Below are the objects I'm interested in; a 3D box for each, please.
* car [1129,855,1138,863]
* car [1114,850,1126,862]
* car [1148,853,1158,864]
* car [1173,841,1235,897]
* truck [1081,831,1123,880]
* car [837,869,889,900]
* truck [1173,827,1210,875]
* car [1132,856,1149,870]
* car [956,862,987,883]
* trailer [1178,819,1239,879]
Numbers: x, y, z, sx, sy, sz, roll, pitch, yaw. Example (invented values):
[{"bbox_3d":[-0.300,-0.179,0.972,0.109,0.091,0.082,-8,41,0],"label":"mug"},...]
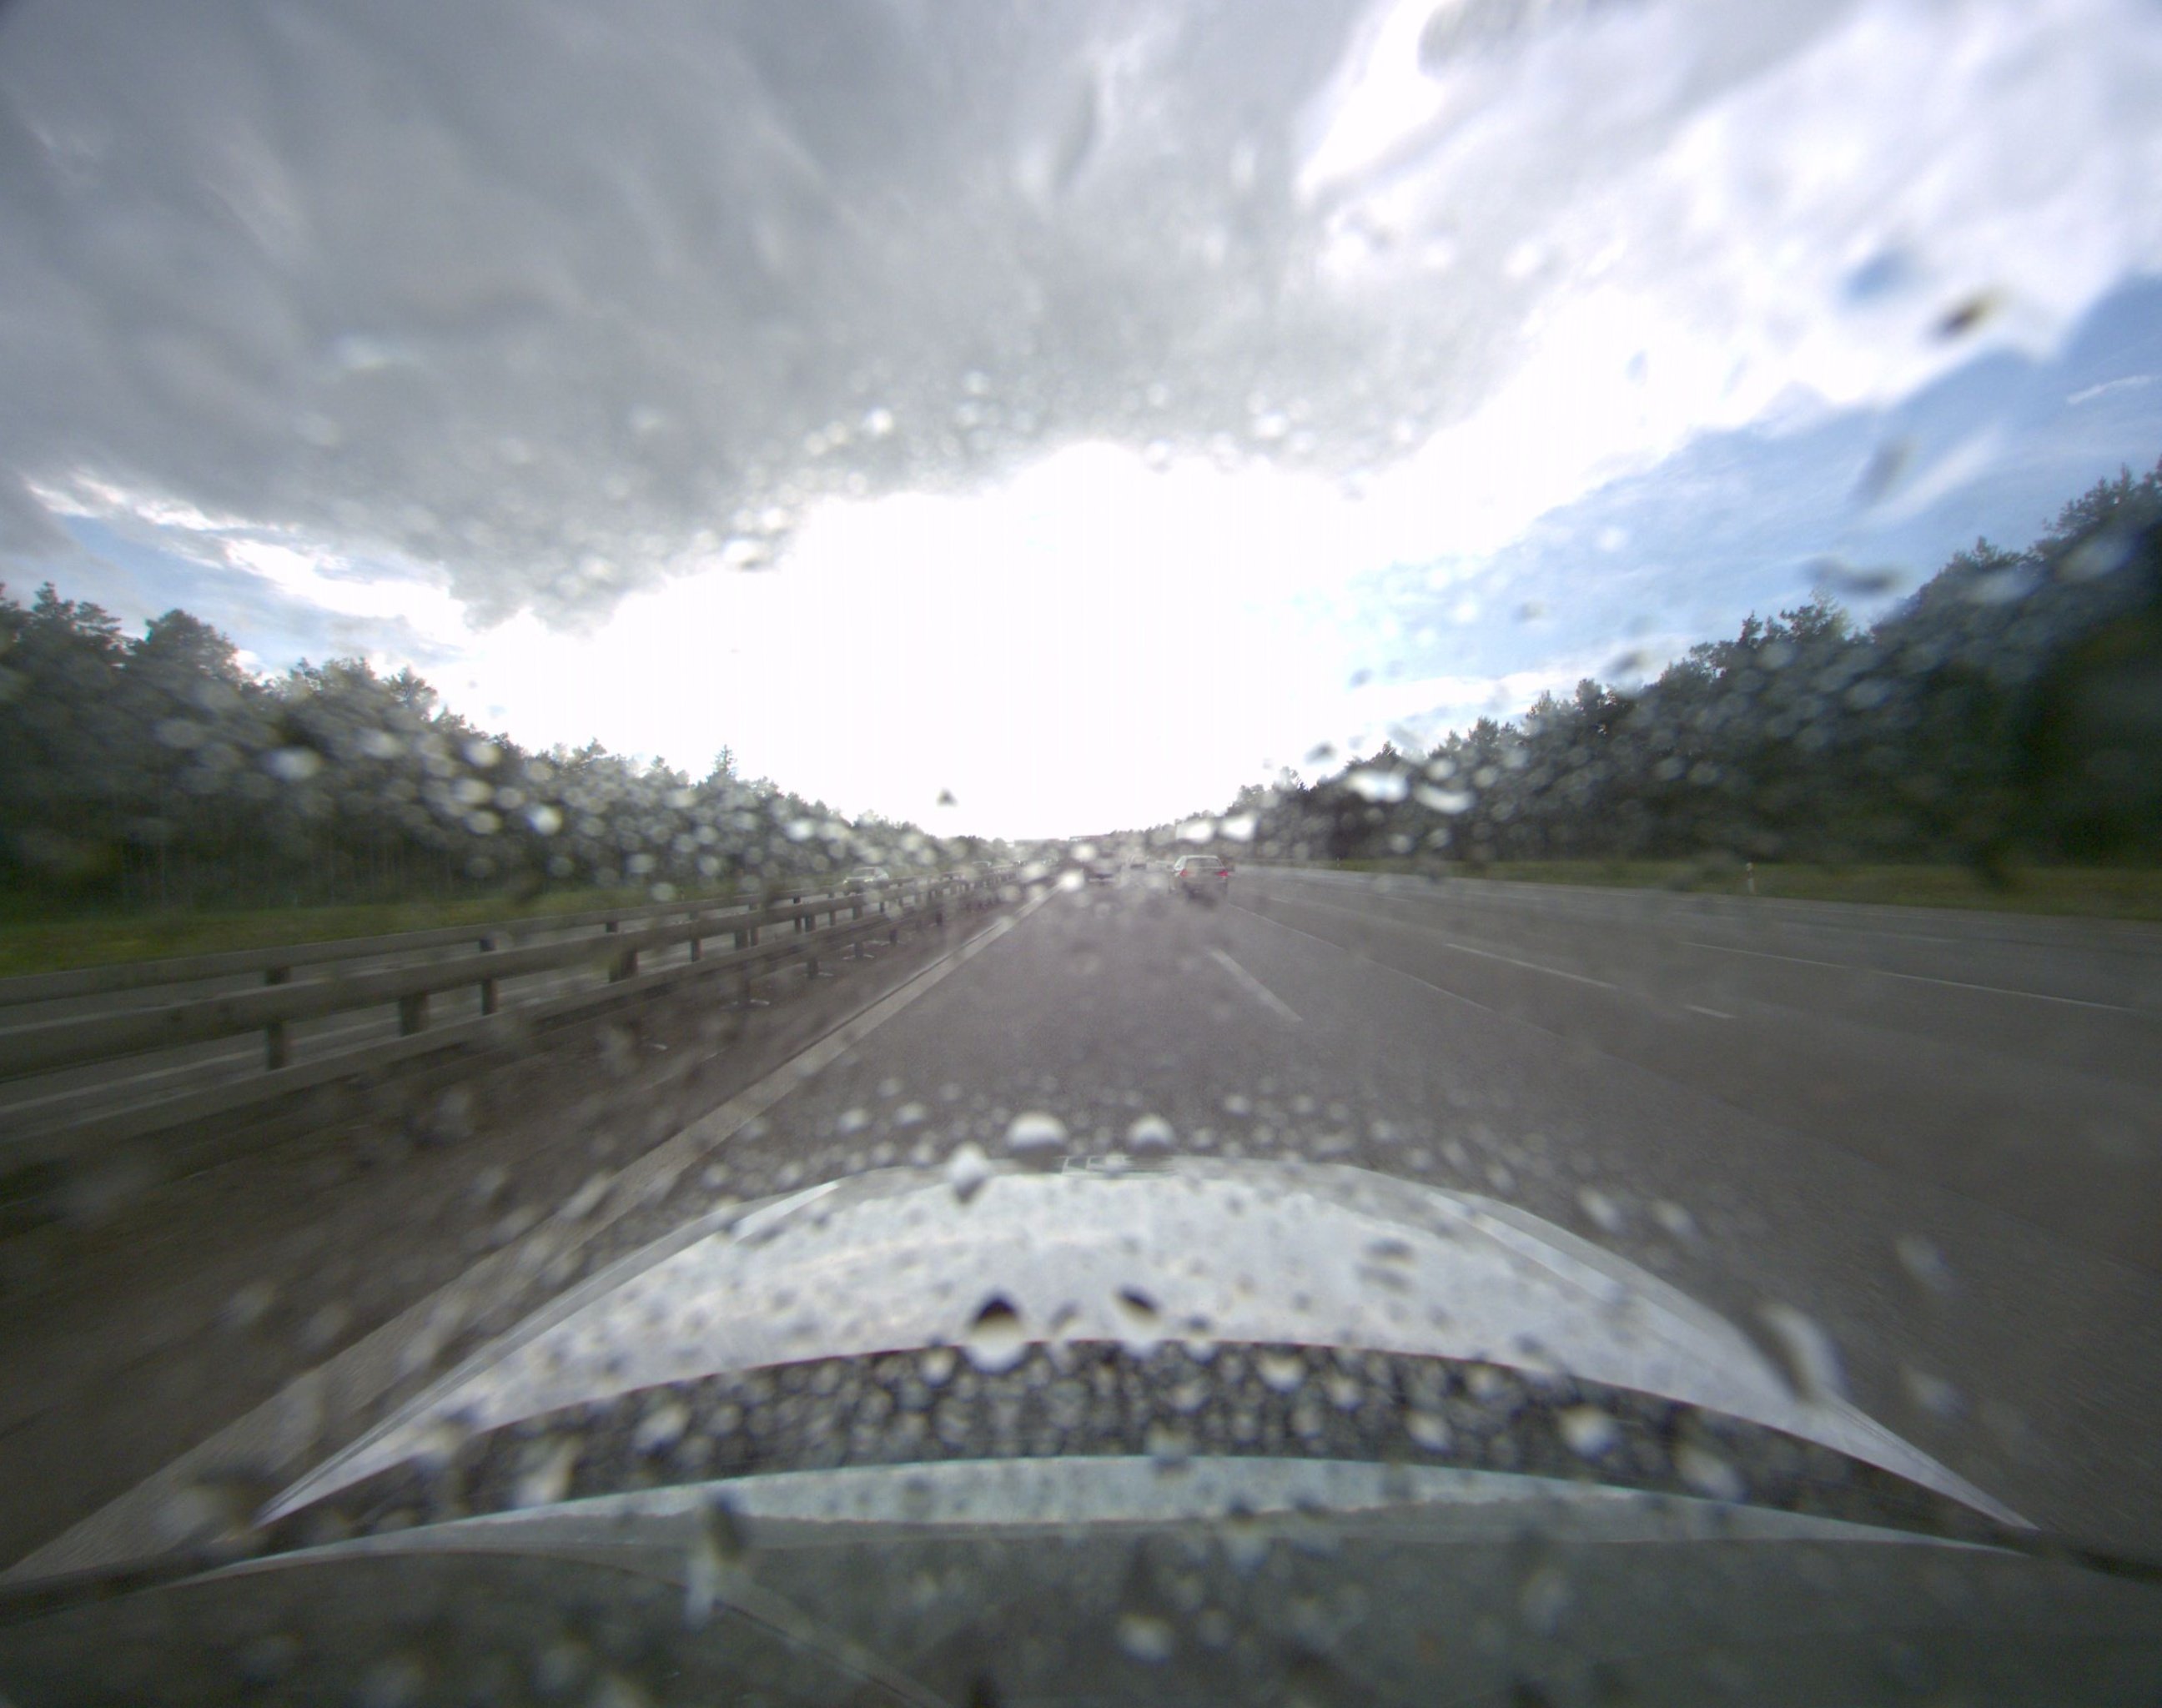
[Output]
[{"bbox_3d":[11.945,1.113,186.519,1.736,1.688,3.998,-1,0,-1],"label":"car"},{"bbox_3d":[6.663,0.354,139.076,1.900,2.013,4.002,-1,0,2],"label":"car"},{"bbox_3d":[14.532,0.903,164.594,1.985,2.013,4.003,0,0,2],"label":"car"},{"bbox_3d":[4.472,0.508,30.307,2.067,1.885,5.020,-1,0,6],"label":"car"},{"bbox_3d":[1.193,0.071,45.213,2.129,2.489,5.315,-1,0,2],"label":"truck"},{"bbox_3d":[-12.024,1.660,45.127,1.722,1.481,4.000,-3,0,0],"label":"car"},{"bbox_3d":[9.283,-0.243,69.086,2.287,3.868,5.390,-1,0,-1],"label":"truck"},{"bbox_3d":[6.589,1.003,90.491,1.823,1.466,4.004,-1,0,4],"label":"car"},{"bbox_3d":[-8.358,1.390,62.425,1.722,1.389,4.092,-4,0,0],"label":"car"},{"bbox_3d":[9.388,-0.338,61.754,2.317,4.001,13.406,-1,0,-1],"label":"trailer"}]
